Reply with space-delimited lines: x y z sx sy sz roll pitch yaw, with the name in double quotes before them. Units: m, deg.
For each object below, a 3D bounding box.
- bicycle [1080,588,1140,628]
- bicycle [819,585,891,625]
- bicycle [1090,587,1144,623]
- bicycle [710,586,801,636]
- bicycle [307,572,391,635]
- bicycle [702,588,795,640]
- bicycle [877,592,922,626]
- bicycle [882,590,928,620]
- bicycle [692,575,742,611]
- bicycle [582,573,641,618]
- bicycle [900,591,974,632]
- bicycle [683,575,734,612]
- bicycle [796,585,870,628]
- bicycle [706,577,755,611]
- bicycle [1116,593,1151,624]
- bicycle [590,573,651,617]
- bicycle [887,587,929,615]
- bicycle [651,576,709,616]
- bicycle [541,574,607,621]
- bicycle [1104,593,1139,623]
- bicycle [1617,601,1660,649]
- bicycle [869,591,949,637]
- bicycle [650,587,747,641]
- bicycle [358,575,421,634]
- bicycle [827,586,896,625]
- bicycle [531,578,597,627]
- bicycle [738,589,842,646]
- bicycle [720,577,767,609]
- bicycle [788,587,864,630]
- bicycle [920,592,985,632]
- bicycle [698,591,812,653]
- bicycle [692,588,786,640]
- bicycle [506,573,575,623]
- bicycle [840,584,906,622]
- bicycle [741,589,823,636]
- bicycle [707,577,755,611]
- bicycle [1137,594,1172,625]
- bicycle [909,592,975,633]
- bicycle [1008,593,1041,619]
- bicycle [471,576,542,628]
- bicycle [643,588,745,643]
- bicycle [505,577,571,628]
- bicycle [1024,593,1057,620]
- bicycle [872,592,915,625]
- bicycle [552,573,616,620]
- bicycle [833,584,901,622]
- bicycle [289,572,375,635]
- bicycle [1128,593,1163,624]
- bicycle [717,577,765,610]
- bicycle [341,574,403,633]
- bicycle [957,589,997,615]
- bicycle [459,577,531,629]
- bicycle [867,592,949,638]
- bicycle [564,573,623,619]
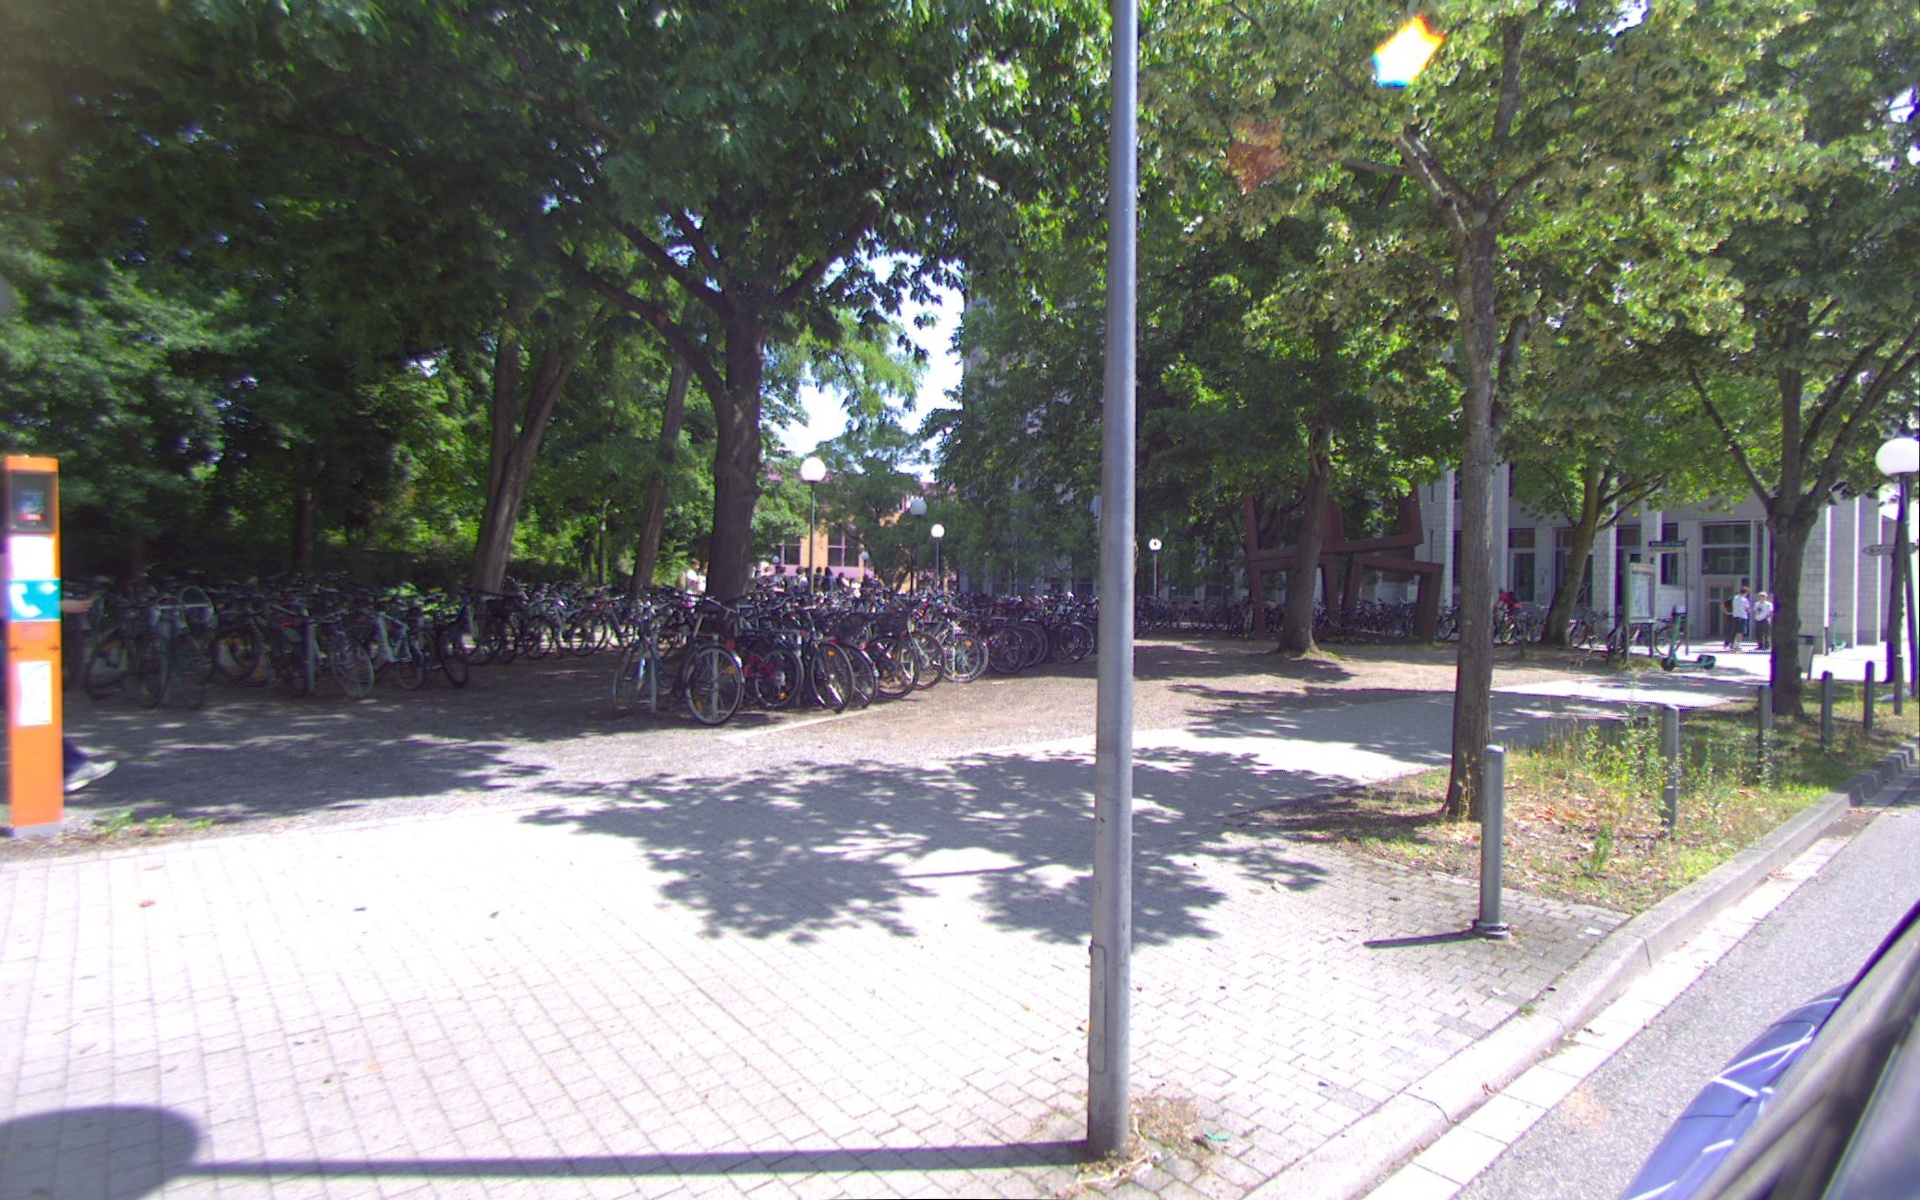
"bicycle" 4.720 0.243 31.836 1.816 1.185 0.412 2 0 11
"bicycle" -2.809 0.129 27.042 1.880 0.991 0.475 2 1 20
"bicycle" 5.405 0.157 34.790 1.816 1.185 0.412 2 0 11
"bicycle" -4.415 0.228 21.863 1.874 0.991 0.477 2 1 11
"bicycle" -11.652 0.051 19.289 1.734 1.107 0.475 2 1 24
"bicycle" -4.393 0.279 21.052 1.874 0.991 0.377 2 1 11
"bicycle" -1.964 0.299 32.861 1.442 1.098 0.353 0 -2 -6
"bicycle" -2.015 0.173 37.466 1.658 1.098 0.478 0 -2 4
"bicycle" -7.886 -0.228 32.868 1.587 1.107 0.347 2 1 13
"bicycle" -9.173 -0.127 26.631 1.592 1.107 0.346 2 1 21
"bicycle" -0.586 0.289 25.782 1.867 0.991 0.379 2 1 0
"bicycle" -8.020 -0.213 32.293 1.587 1.107 0.335 2 1 13
"bicycle" -3.197 0.157 25.427 1.880 0.991 0.376 2 1 20
"bicycle" -7.794 -0.196 34.386 1.578 1.107 0.348 1 1 -7
"bicycle" 6.676 0.323 38.838 0.477 1.144 1.661 -2 -3 44
"bicycle" -9.053 -0.132 26.965 1.592 1.107 0.475 2 1 21
"bicycle" -2.071 0.042 40.459 1.655 1.098 0.478 0 -2 -1
"bicycle" -8.210 -0.126 29.631 1.587 1.107 0.477 2 1 13
"bicycle" -9.482 -0.069 24.857 1.592 1.107 0.475 2 1 21
"bicycle" 6.276 0.319 39.337 0.477 1.144 1.661 -2 -3 44
"bicycle" 17.476 0.628 26.058 1.465 1.155 0.560 0 3 -43
"bicycle" -1.225 0.319 24.031 1.880 0.991 0.376 2 1 20
"bicycle" -5.184 0.275 20.067 1.874 0.991 0.377 2 1 11
"bicycle" -11.466 0.079 20.331 1.598 1.107 0.344 2 1 31
"bicycle" -2.669 0.136 27.433 1.880 0.991 0.376 2 1 20
"bicycle" -9.596 0.051 24.526 1.592 1.107 0.475 2 1 21
"bicycle" -3.214 0.327 19.120 1.872 0.991 0.477 2 1 9
"bicycle" -7.670 -0.249 35.867 1.581 1.107 0.348 2 1 1
"bicycle" -3.319 0.194 24.990 1.880 0.991 0.376 2 1 20
"bicycle" -0.209 0.327 28.004 1.714 1.035 0.477 2 1 9
"bicycle" -3.562 0.375 17.616 1.868 0.991 0.478 2 1 2
"bicycle" -4.524 0.275 20.701 1.874 0.991 0.377 2 1 11
"bicycle" -9.914 -0.060 23.913 1.592 1.107 0.475 2 1 21
"bicycle" -2.465 0.074 28.605 1.880 0.991 0.376 2 1 20
"bicycle" -4.060 0.272 23.054 1.880 0.991 0.376 2 1 20
"bicycle" -7.848 -0.213 34.734 1.578 1.107 0.348 1 1 -7
"bicycle" 7.283 0.359 37.908 0.453 1.144 1.661 -2 -3 44
"bicycle" -0.488 0.334 27.374 1.714 1.035 0.477 2 1 9
"bicycle" 2.761 0.261 43.167 0.477 1.098 1.661 -2 -3 44
"bicycle" -10.299 0.043 22.958 1.592 1.107 0.475 2 1 21
"bicycle" -5.156 0.287 19.600 1.874 0.991 0.477 2 1 11
"bicycle" -9.803 0.051 23.490 1.592 1.107 0.346 2 1 21
"bicycle" 3.388 0.297 42.517 0.477 1.098 1.661 -2 -3 44
"bicycle" -2.245 0.294 34.165 1.442 1.098 0.353 0 -2 -7
"bicycle" -9.504 -0.100 25.585 1.592 1.107 0.475 2 1 21
"bicycle" -2.602 0.072 28.207 1.880 0.991 0.376 2 1 20
"bicycle" -11.783 0.056 18.969 1.734 1.107 0.475 2 1 24
"bicycle" 7.058 0.344 38.425 0.477 1.144 1.661 -2 -3 44
"bicycle" -7.671 -0.235 35.519 1.581 1.107 0.348 2 1 1
"bicycle" -11.642 0.057 20.019 1.598 1.107 0.344 2 1 31
"bicycle" 0.723 0.096 43.302 1.653 1.098 0.479 0 -2 -9
"bicycle" -10.376 0.054 22.585 1.592 1.107 0.475 2 1 21
"bicycle" -1.220 0.339 23.588 1.880 0.991 0.376 2 1 20
"bicycle" -9.388 -0.107 25.916 1.592 1.107 0.346 2 1 21
